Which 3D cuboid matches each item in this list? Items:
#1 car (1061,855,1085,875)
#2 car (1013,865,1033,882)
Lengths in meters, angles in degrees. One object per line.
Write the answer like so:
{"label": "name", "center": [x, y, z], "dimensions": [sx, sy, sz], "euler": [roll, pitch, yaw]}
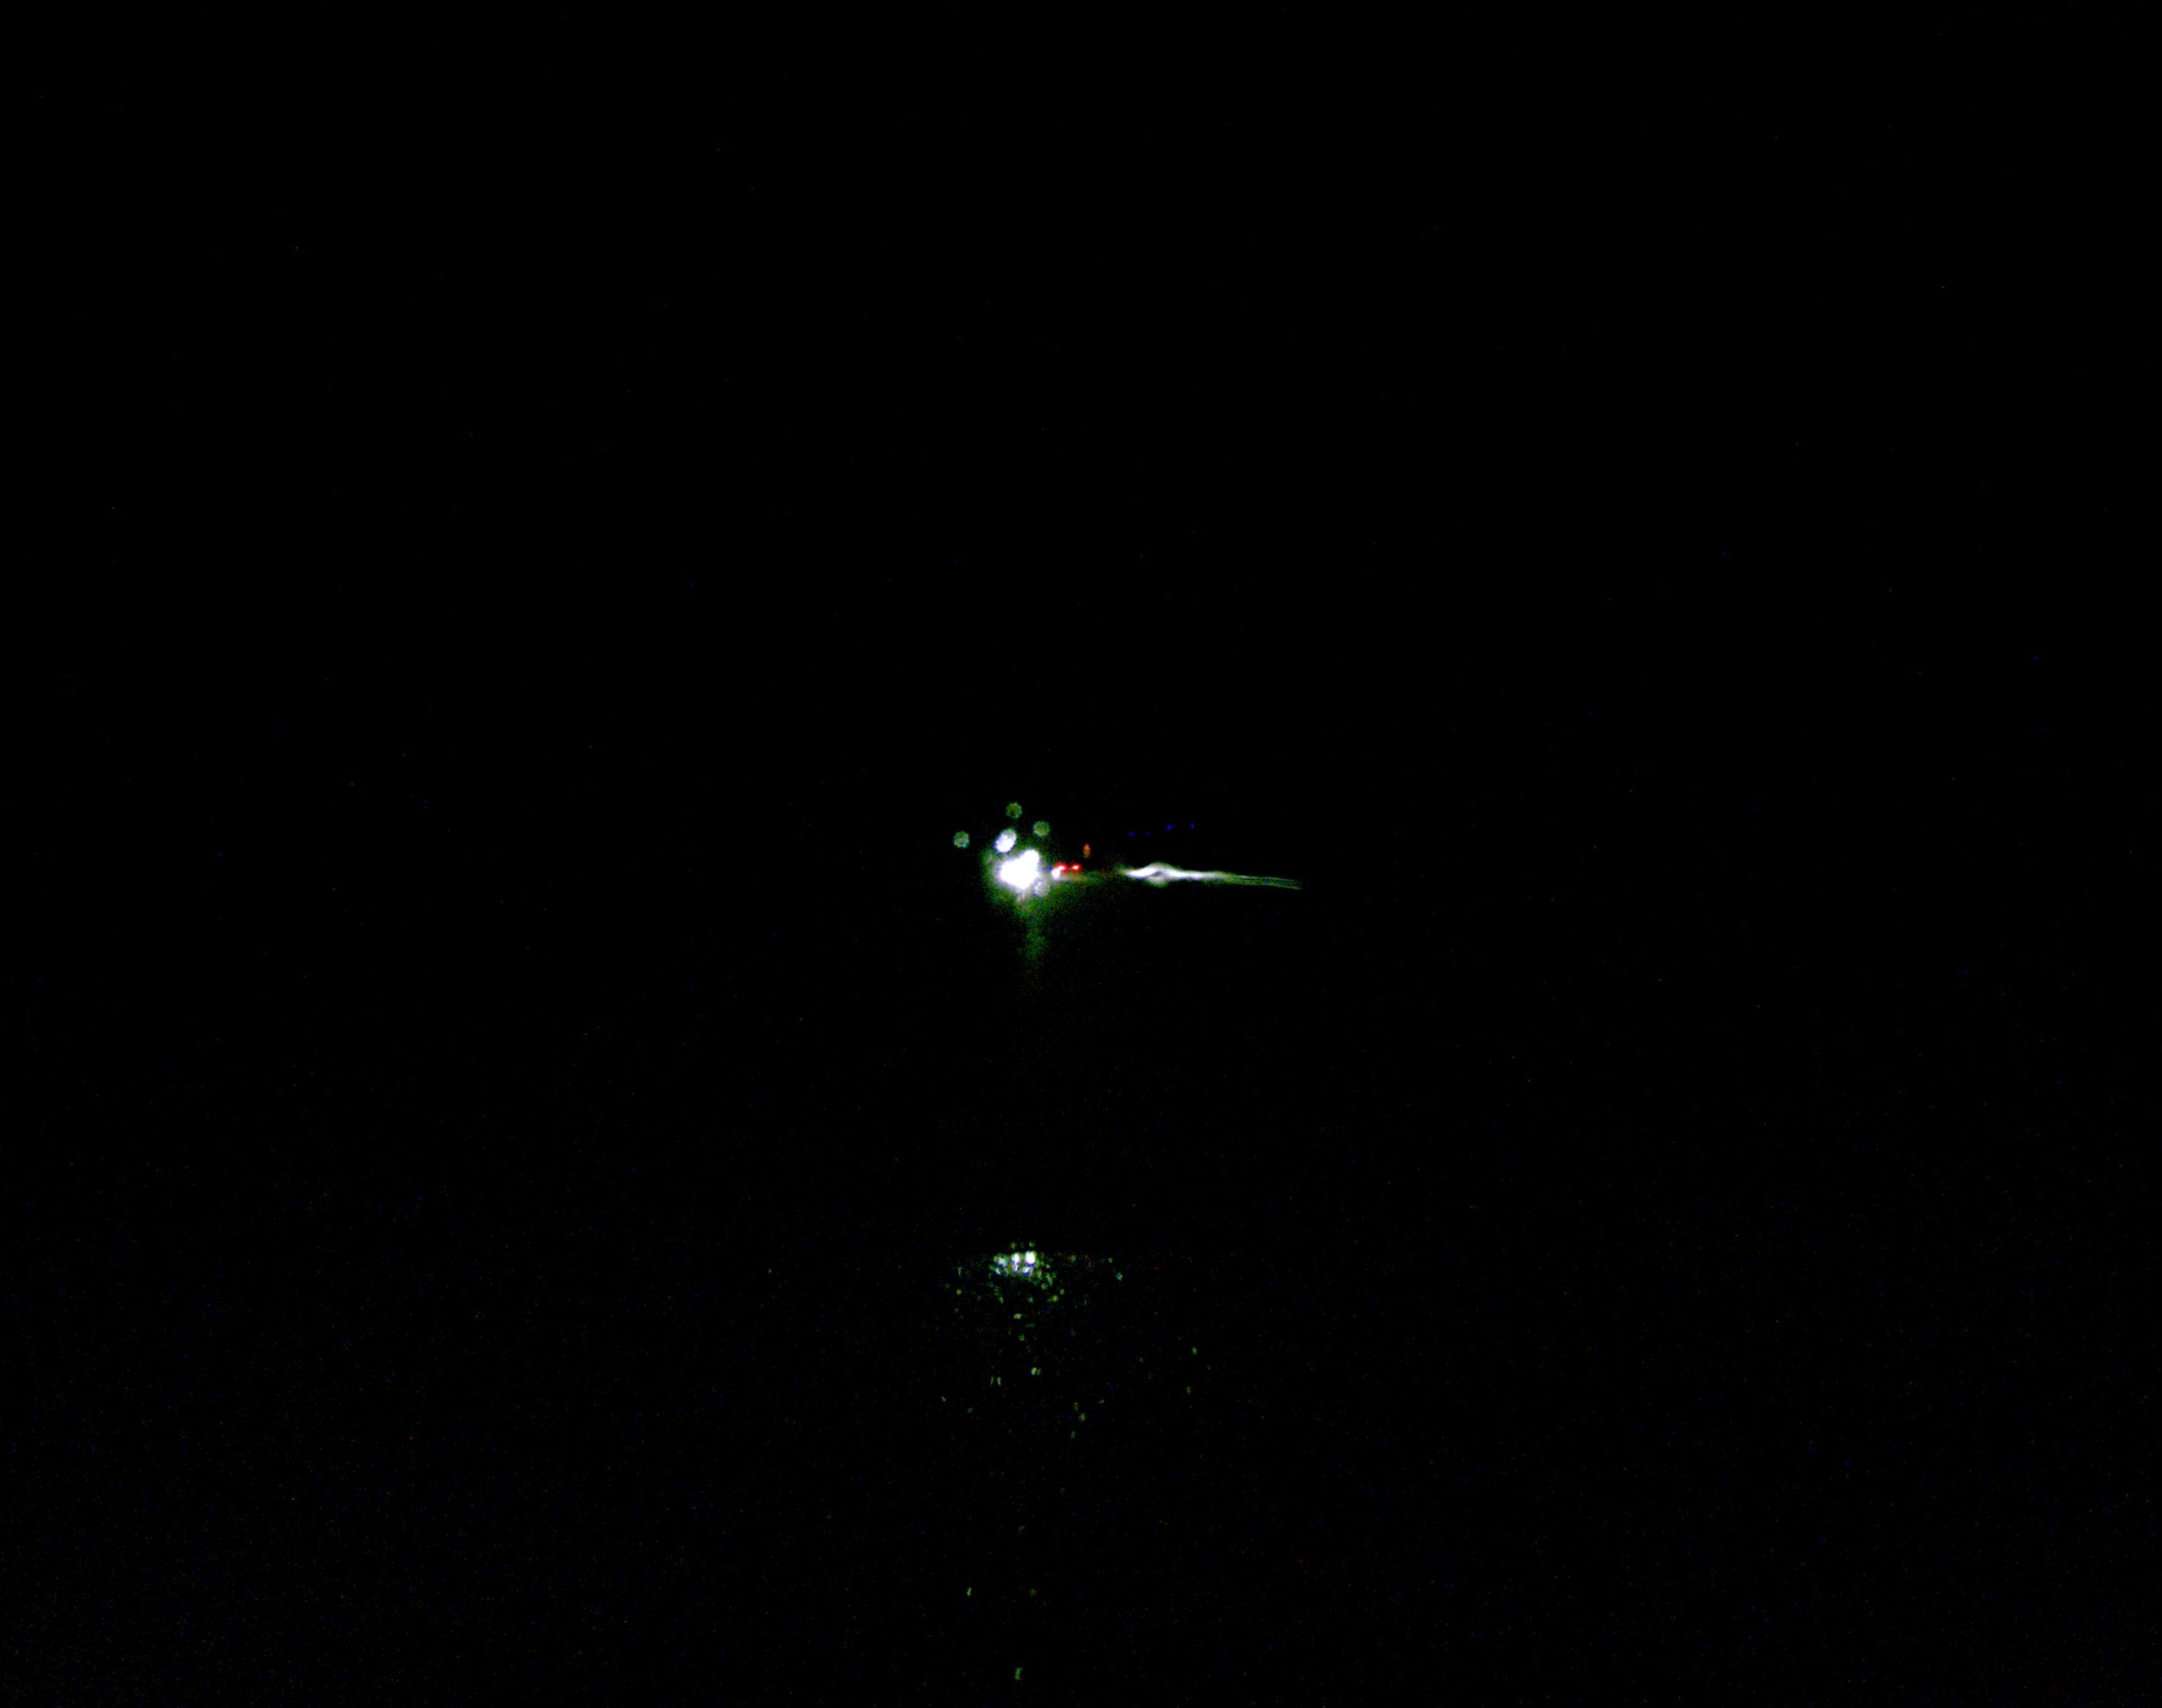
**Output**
{"label": "car", "center": [-0.764, 1.016, 71.307], "dimensions": [1.999, 1.683, 4.695], "euler": [-1, 1, -4]}
{"label": "car", "center": [-6.427, 2.119, 84.379], "dimensions": [1.999, 1.723, 4.000], "euler": [4, -1, -2]}
